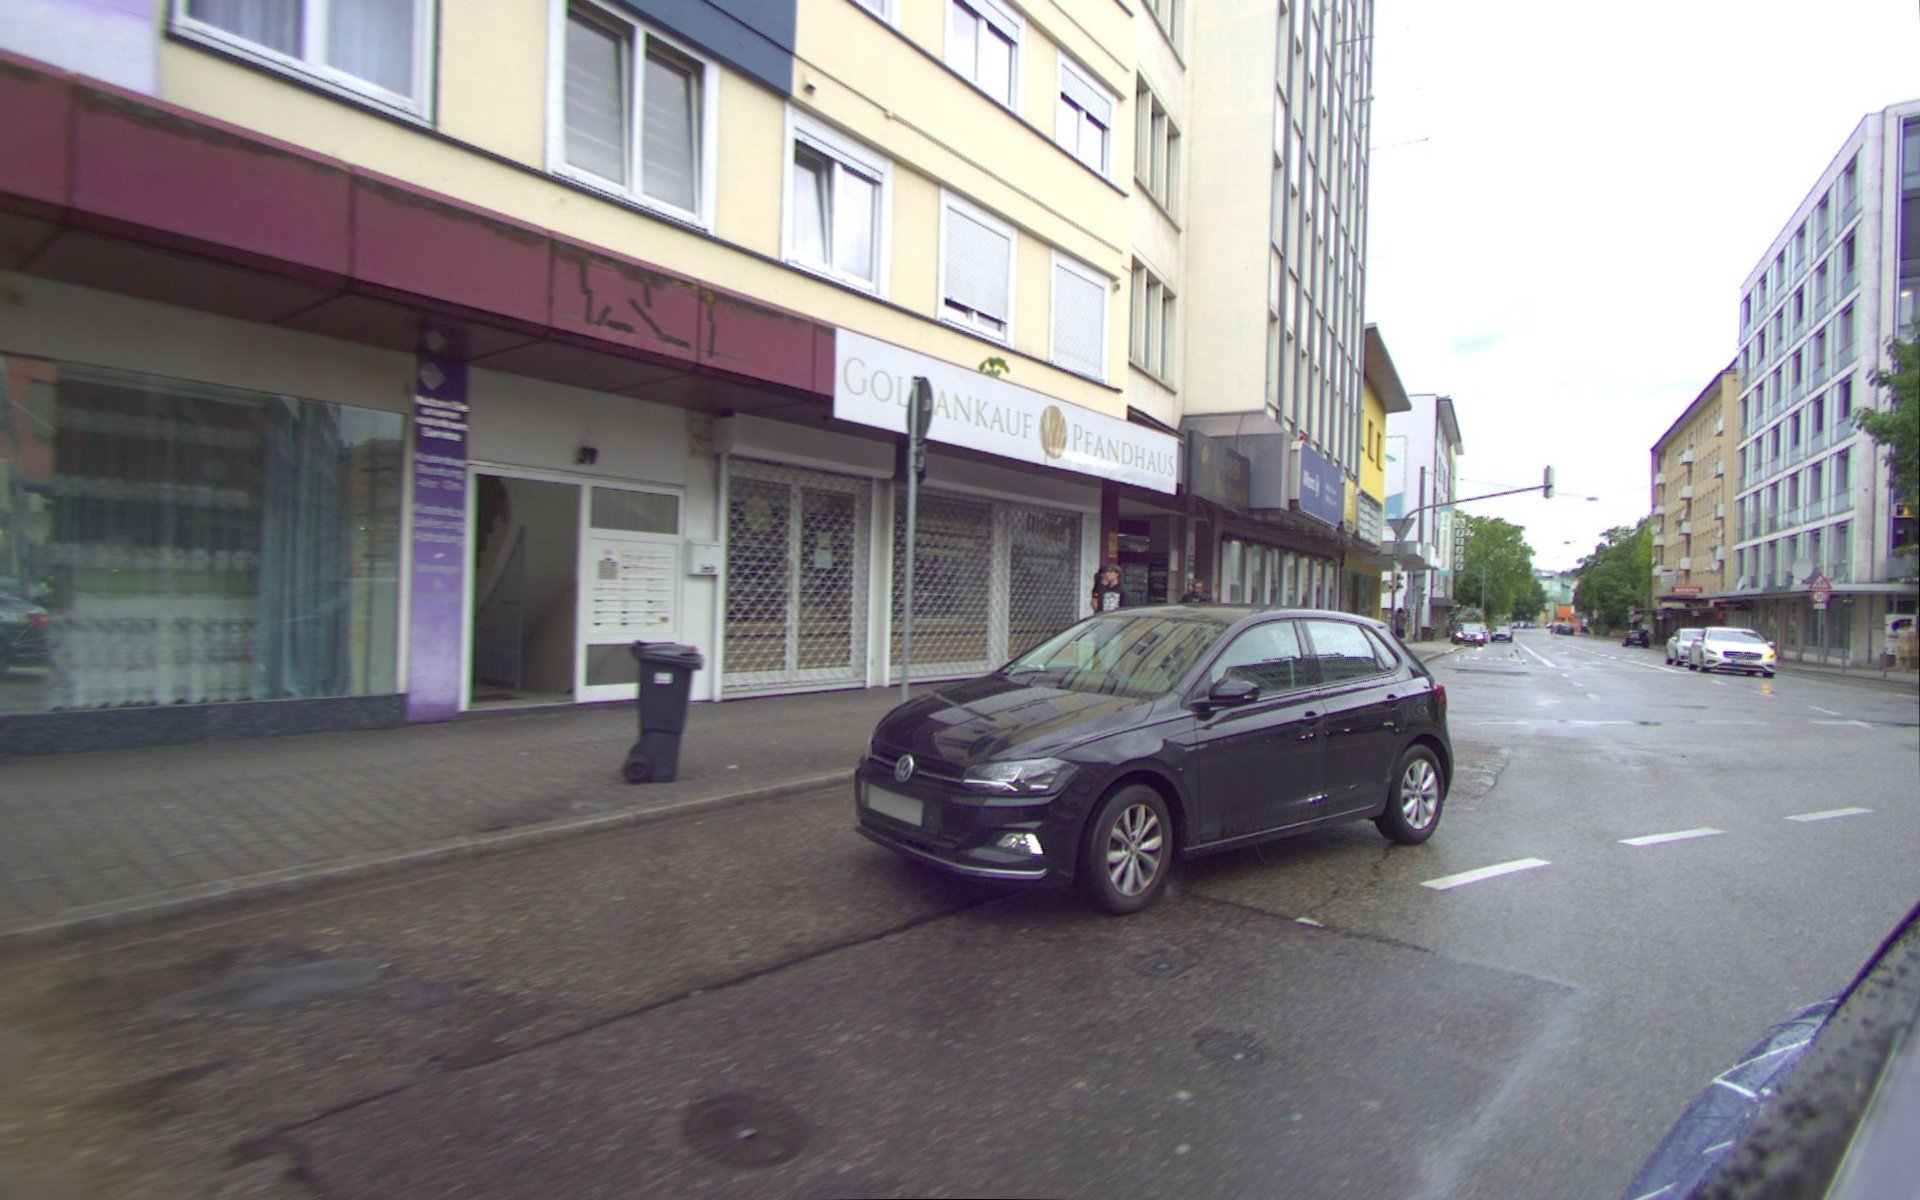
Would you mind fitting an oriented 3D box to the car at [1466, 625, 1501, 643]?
[{"bbox_3d":[43.947,2.824,85.088,1.974,1.472,3.975,0,-2,18],"label":"car"}]

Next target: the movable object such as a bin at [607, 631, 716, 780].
[{"bbox_3d":[-2.088,0.731,7.138,0.658,0.945,0.533,3,3,-13],"label":"movable object such as a bin"}]

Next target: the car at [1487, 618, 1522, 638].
[{"bbox_3d":[48.643,2.504,90.502,1.973,1.640,4.101,0,1,18],"label":"car"}]

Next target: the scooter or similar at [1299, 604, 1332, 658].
[{"bbox_3d":[9.392,0.803,26.714,1.130,1.377,0.376,0,-1,-45],"label":"scooter or similar"}]

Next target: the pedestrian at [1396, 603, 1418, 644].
[{"bbox_3d":[18.764,0.982,42.455,0.731,1.667,0.634,-1,-1,31],"label":"pedestrian"}]

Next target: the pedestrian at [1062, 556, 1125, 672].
[{"bbox_3d":[2.111,0.216,16.012,0.773,1.786,0.618,1,-2,-28],"label":"pedestrian"}]

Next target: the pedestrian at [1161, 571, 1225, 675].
[{"bbox_3d":[4.013,0.388,17.461,0.738,1.745,0.755,1,-2,-28],"label":"pedestrian"}]

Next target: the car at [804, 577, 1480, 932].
[{"bbox_3d":[1.196,0.677,5.965,3.805,1.449,1.743,1,-2,-35],"label":"car"}]

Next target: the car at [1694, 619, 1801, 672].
[{"bbox_3d":[24.100,1.337,31.121,1.958,1.405,3.958,3,1,29],"label":"car"}]

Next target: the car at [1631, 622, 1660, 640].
[{"bbox_3d":[59.888,2.685,88.469,1.814,1.594,3.955,-1,-1,31],"label":"car"}]

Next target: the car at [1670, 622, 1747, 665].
[{"bbox_3d":[28.077,1.597,38.076,1.794,1.518,3.958,-1,-1,29],"label":"car"}]

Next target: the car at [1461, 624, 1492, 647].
[{"bbox_3d":[34.703,2.370,68.014,1.769,1.472,3.961,-1,-2,27],"label":"car"}]

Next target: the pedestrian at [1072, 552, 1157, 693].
[{"bbox_3d":[2.080,0.292,13.629,0.833,1.786,0.610,5,0,34],"label":"pedestrian"}]
